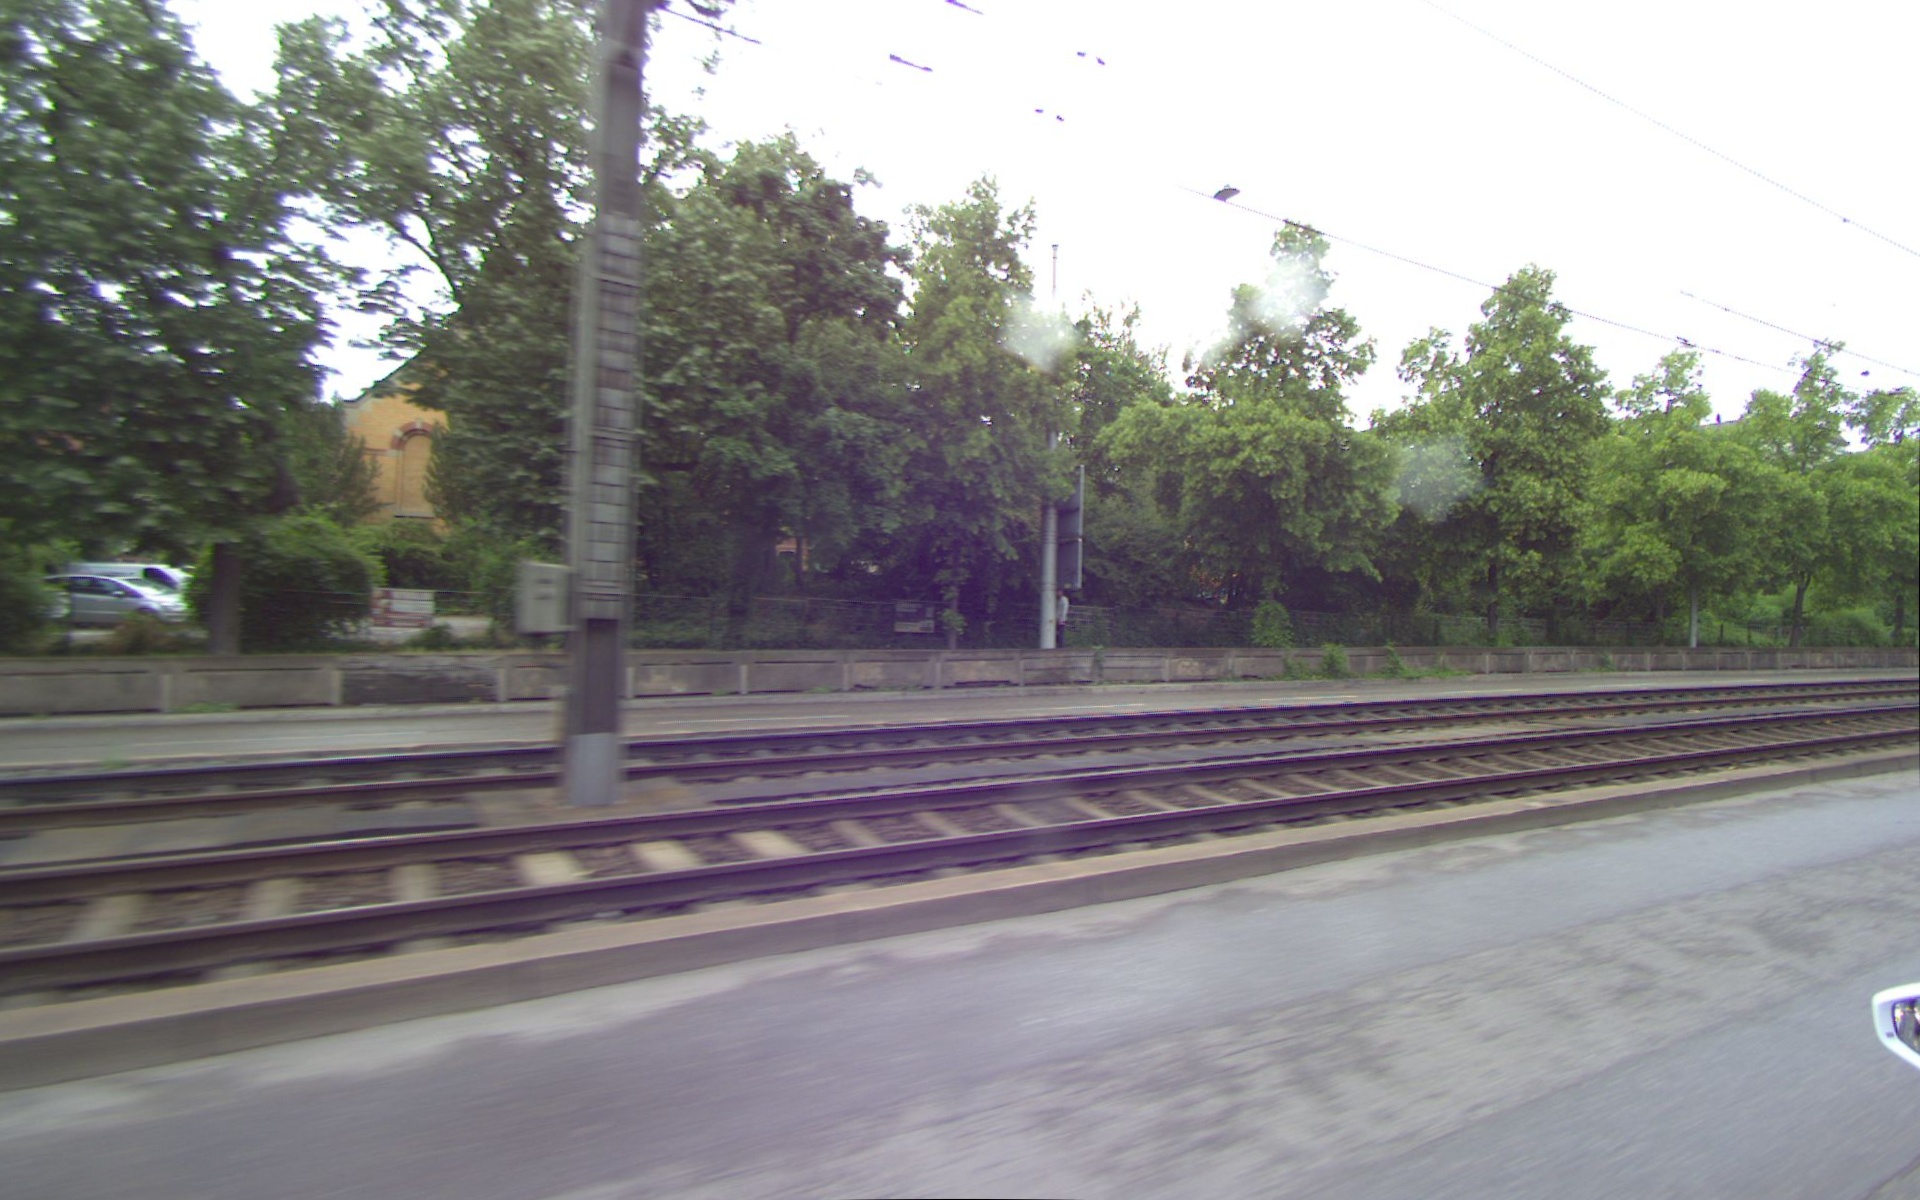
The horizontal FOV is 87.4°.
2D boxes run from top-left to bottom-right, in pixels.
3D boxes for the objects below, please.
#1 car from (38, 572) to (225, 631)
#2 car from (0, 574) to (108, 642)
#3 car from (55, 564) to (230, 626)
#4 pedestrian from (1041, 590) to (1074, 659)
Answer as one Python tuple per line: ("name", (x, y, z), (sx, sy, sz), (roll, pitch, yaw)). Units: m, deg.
("car", (-25.478, 0.043, 31.040), (3.929, 1.643, 1.996), (2, 0, -11))
("car", (-24.420, 0.162, 25.364), (3.929, 1.643, 1.996), (2, 0, -11))
("car", (-26.744, -0.146, 33.016), (3.929, 1.933, 1.996), (1, -1, -11))
("pedestrian", (2.750, 0.685, 28.384), (0.646, 1.928, 0.593), (1, 1, -30))
